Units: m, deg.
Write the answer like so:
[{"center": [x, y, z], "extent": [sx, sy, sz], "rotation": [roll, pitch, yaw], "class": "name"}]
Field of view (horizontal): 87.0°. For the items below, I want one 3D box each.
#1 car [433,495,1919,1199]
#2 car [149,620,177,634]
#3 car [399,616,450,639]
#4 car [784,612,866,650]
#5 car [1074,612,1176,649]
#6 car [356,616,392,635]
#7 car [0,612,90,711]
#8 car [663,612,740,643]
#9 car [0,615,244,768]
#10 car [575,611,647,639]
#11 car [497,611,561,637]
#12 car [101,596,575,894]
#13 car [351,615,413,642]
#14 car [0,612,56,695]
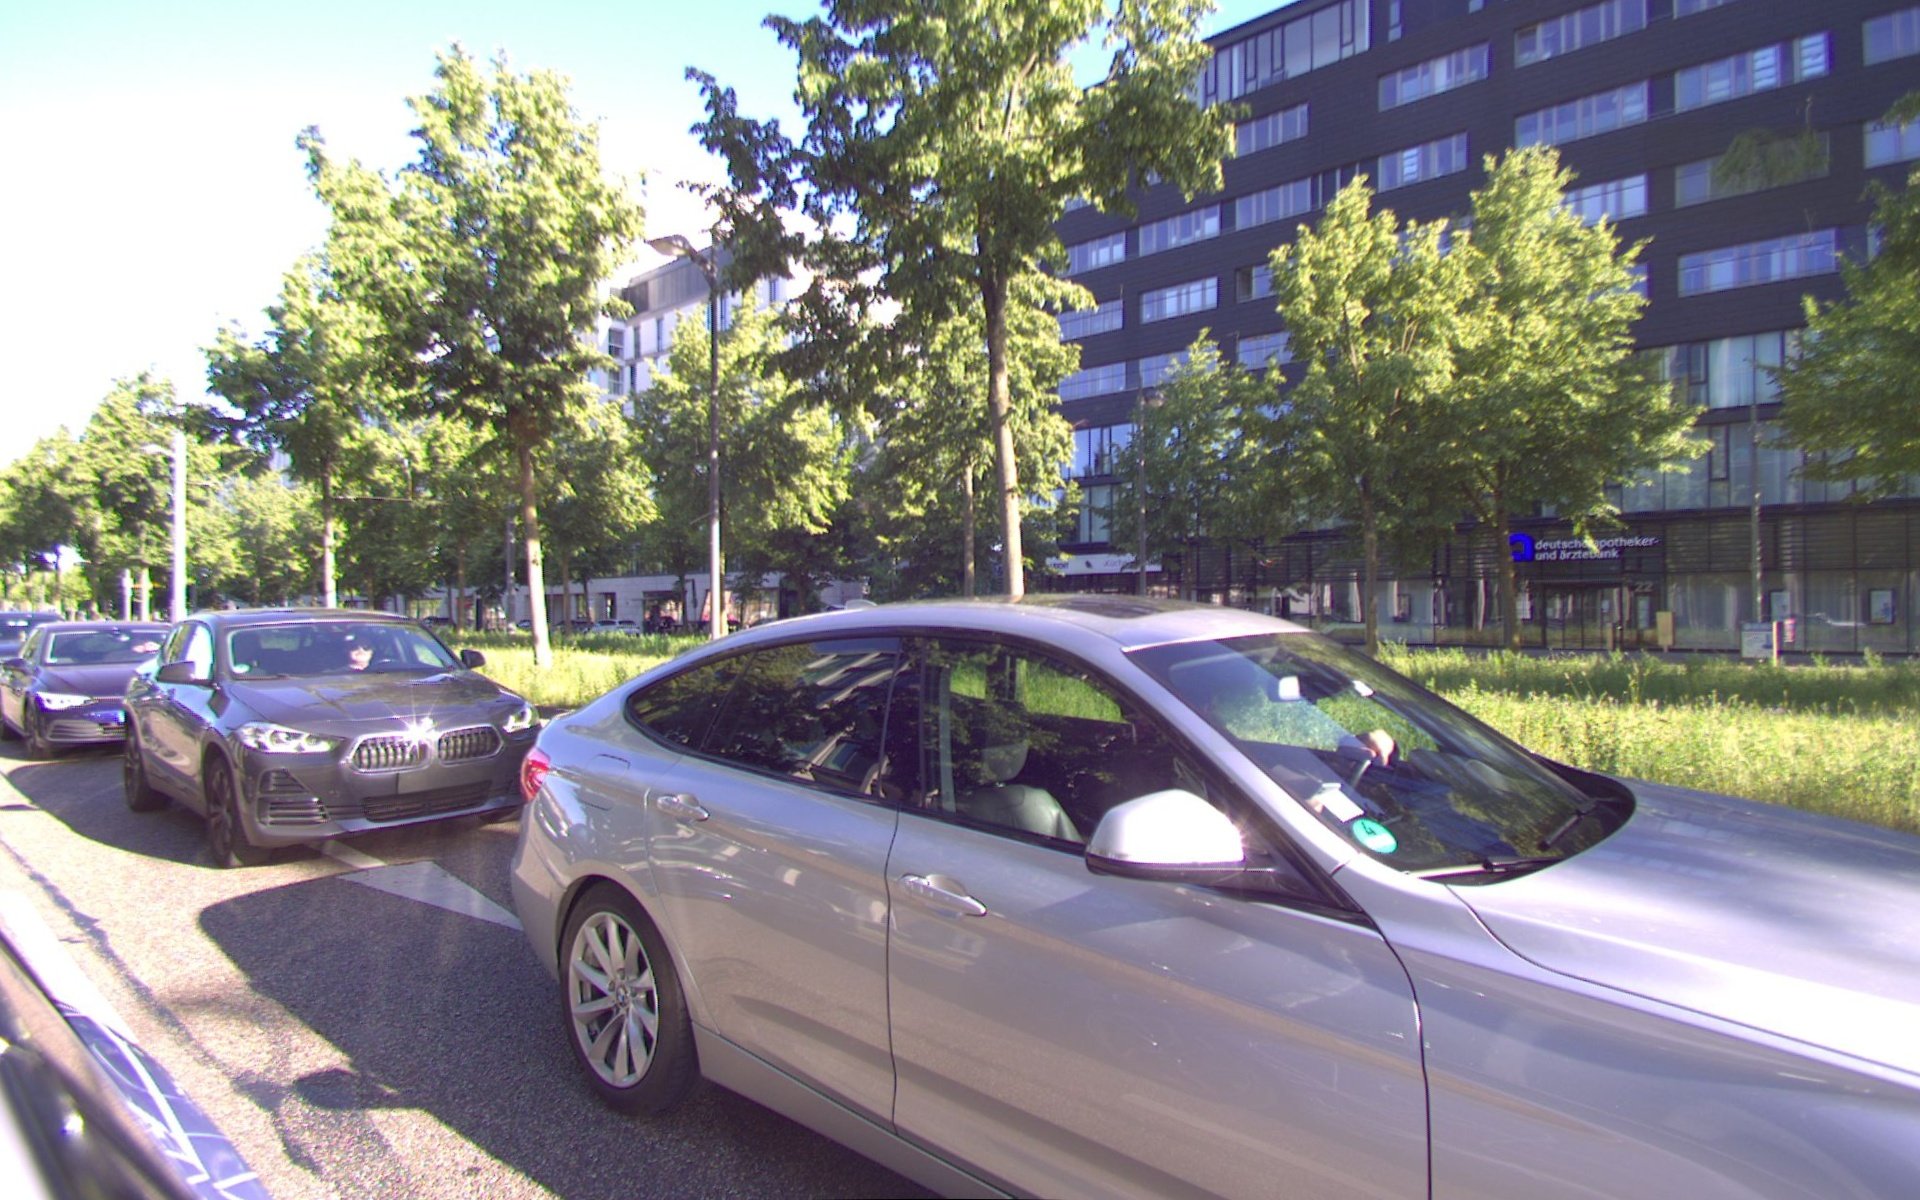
[{"center": [0.523, 0.661, 2.709], "extent": [4.739, 1.500, 1.790], "rotation": [-1, -1, 40], "class": "car"}, {"center": [-83.645, 2.857, 106.229], "extent": [3.998, 1.403, 1.644], "rotation": [-1, -1, 41], "class": "car"}, {"center": [-43.092, 2.198, 81.380], "extent": [4.788, 1.711, 1.986], "rotation": [-1, -1, 40], "class": "car"}, {"center": [-6.657, 1.509, 49.596], "extent": [3.998, 1.762, 1.834], "rotation": [-1, -1, 41], "class": "car"}, {"center": [7.020, 1.289, 43.295], "extent": [4.000, 1.516, 1.734], "rotation": [-1, -1, 43], "class": "car"}, {"center": [-51.152, 2.214, 88.313], "extent": [3.742, 1.682, 1.581], "rotation": [-1, -1, 41], "class": "car"}, {"center": [-16.904, 1.025, 17.923], "extent": [4.164, 1.602, 1.788], "rotation": [-1, -1, 42], "class": "car"}, {"center": [-14.462, 1.513, 56.491], "extent": [4.790, 1.697, 1.834], "rotation": [-1, -1, 41], "class": "car"}, {"center": [-10.007, 0.921, 11.837], "extent": [4.253, 1.465, 1.789], "rotation": [-1, -1, 42], "class": "car"}, {"center": [-21.877, 1.562, 63.397], "extent": [4.785, 1.711, 1.988], "rotation": [-1, -1, 38], "class": "car"}, {"center": [-29.845, 1.628, 69.977], "extent": [4.785, 1.711, 1.988], "rotation": [-1, -1, 38], "class": "car"}, {"center": [-4.595, 0.782, 7.234], "extent": [4.027, 1.534, 1.789], "rotation": [-1, -1, 41], "class": "car"}, {"center": [-35.274, 1.732, 61.710], "extent": [4.733, 1.549, 1.834], "rotation": [-1, -1, 41], "class": "car"}, {"center": [-21.740, 1.149, 22.337], "extent": [4.788, 1.711, 1.986], "rotation": [-1, -1, 40], "class": "car"}]
